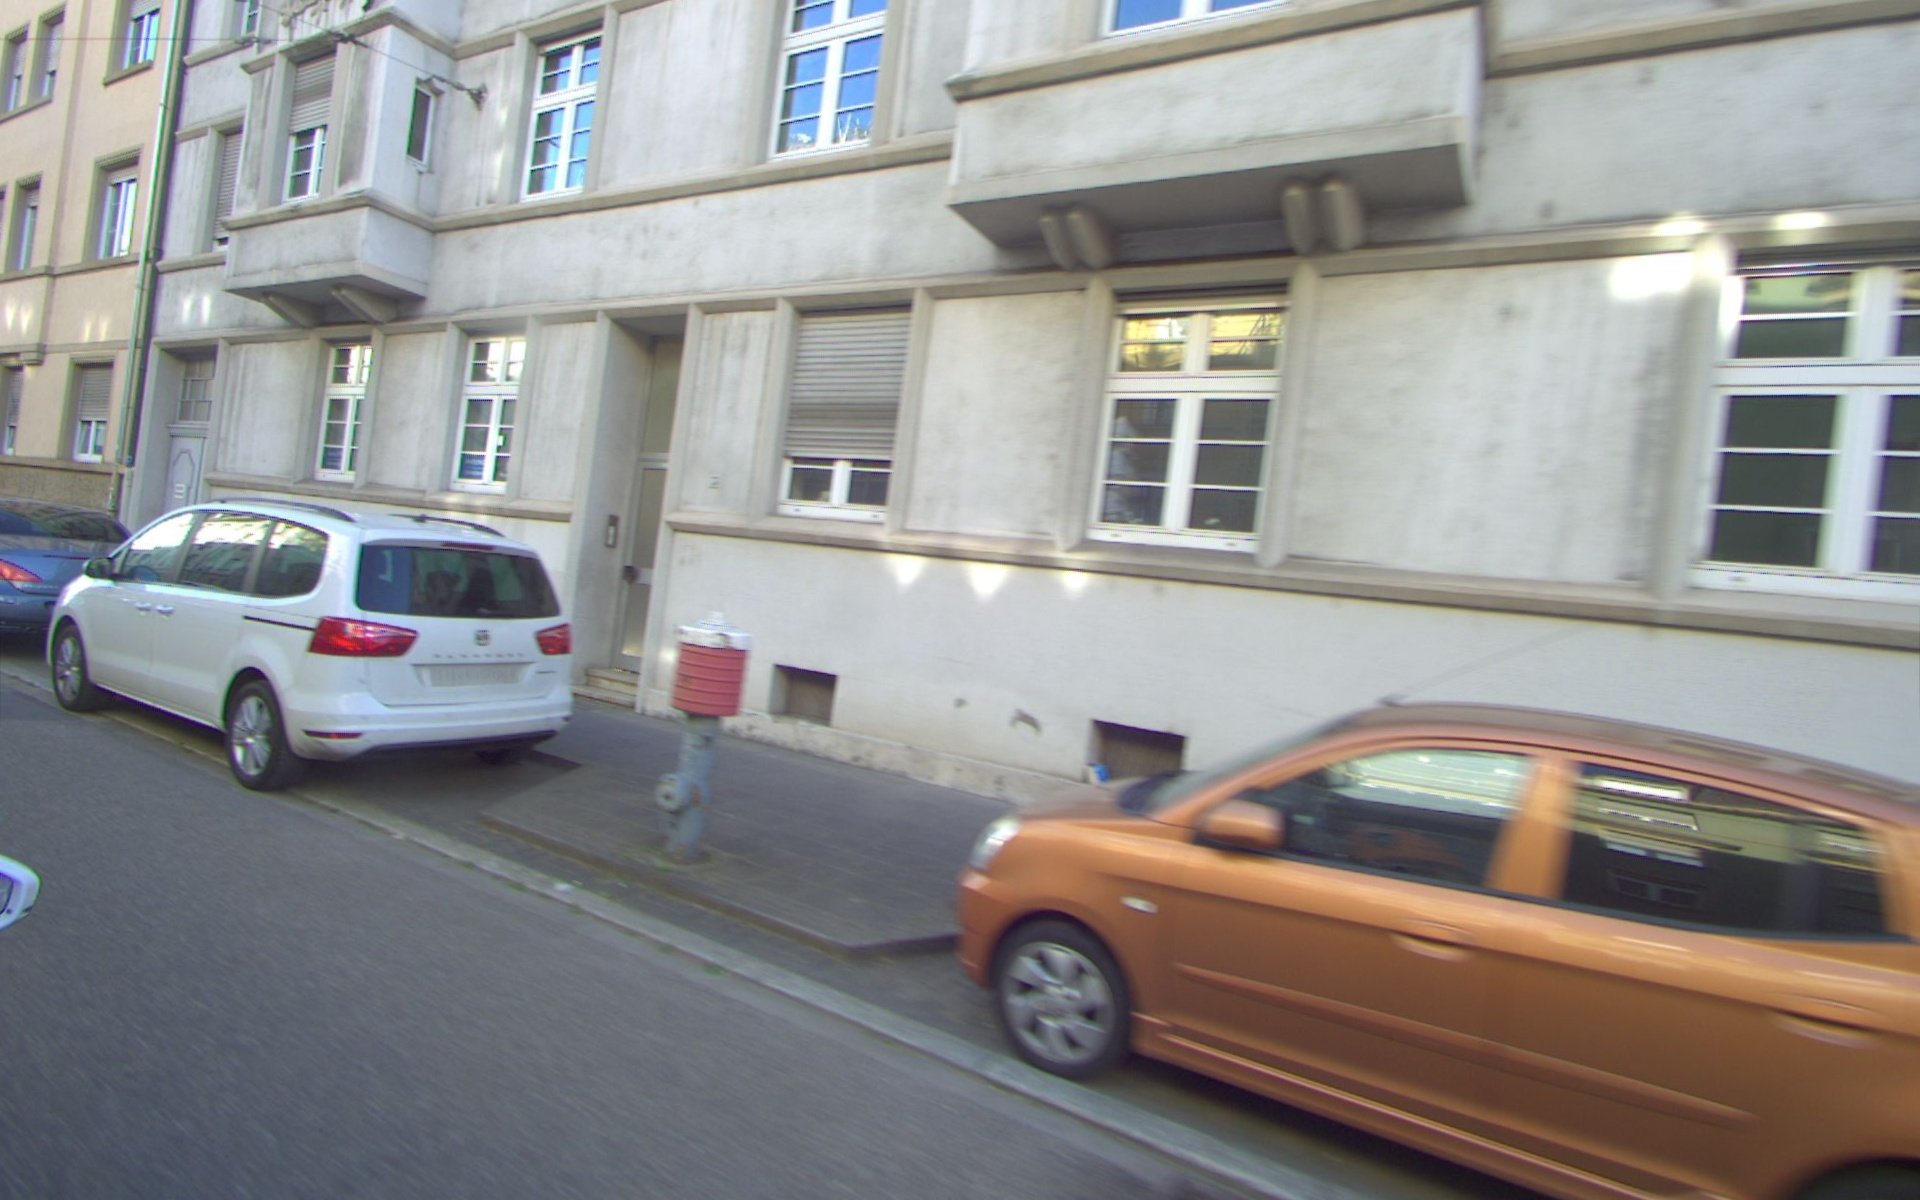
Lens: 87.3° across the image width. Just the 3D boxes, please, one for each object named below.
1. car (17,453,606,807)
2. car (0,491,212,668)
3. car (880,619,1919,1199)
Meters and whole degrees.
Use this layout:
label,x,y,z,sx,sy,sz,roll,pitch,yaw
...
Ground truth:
label,x,y,z,sx,sy,sz,roll,pitch,yaw
car,-4.979,0.064,7.510,4.608,1.850,1.733,7,0,32
car,-9.774,-0.352,10.430,4.151,1.504,1.725,7,-1,32
car,1.688,1.107,3.690,3.540,1.579,1.617,7,0,32
